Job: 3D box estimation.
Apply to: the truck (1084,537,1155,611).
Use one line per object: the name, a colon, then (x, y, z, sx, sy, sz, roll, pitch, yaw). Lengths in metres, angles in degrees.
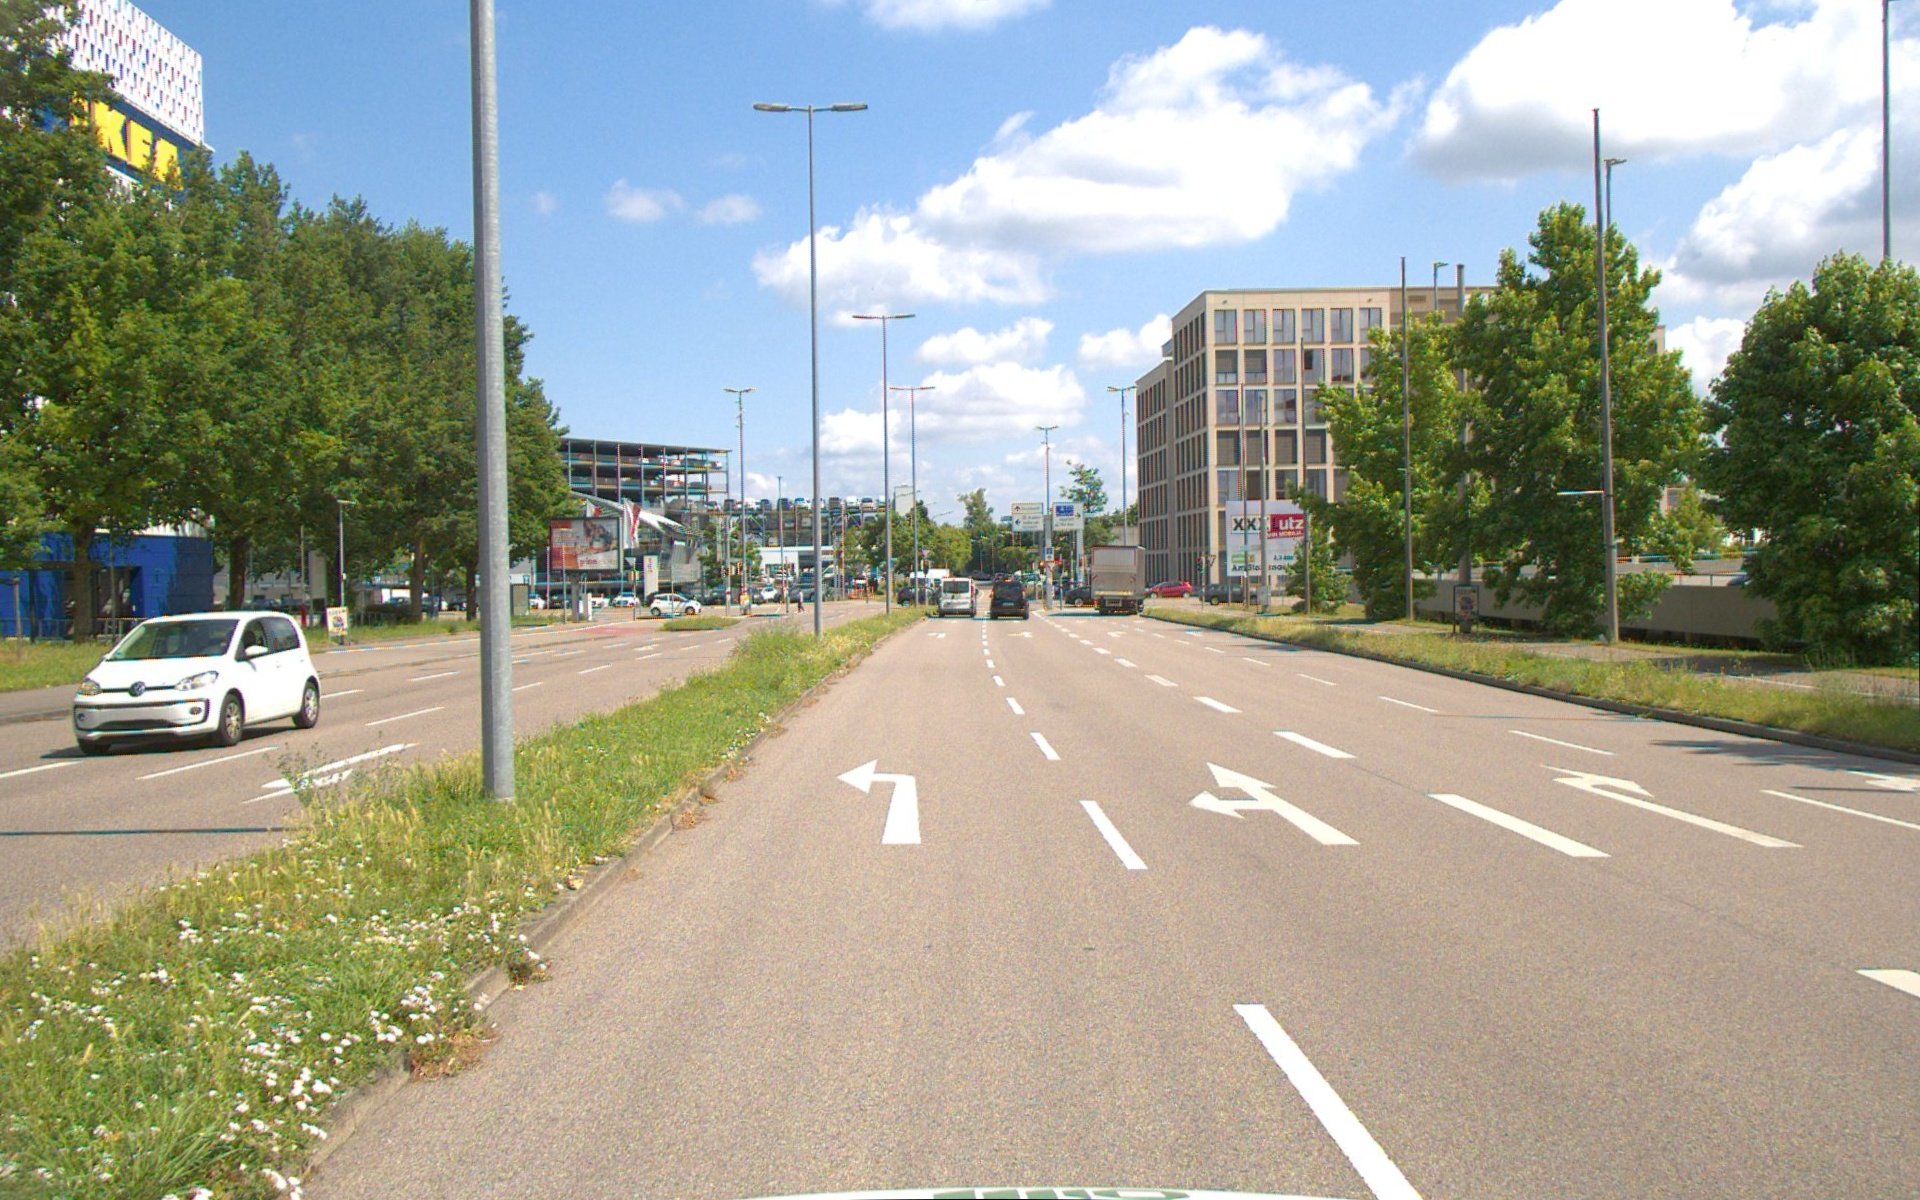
truck: (9.143, -1.480, 94.137, 3.063, 4.009, 8.867, 0, 1, 12)

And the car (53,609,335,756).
car: (-8.773, 0.881, 19.278, 1.610, 1.453, 3.669, -2, 0, -2)

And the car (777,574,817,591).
car: (-17.146, -1.860, 174.234, 4.084, 1.742, 1.687, 1, 1, -5)

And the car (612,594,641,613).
car: (-27.581, 0.246, 136.848, 1.740, 1.475, 4.028, 0, 1, -3)

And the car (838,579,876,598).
car: (-10.898, -1.184, 174.860, 3.910, 1.959, 1.825, 0, 0, -6)

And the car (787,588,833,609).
car: (-12.991, -0.135, 143.395, 3.785, 1.668, 1.857, -2, 1, -3)

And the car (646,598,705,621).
car: (-19.285, 0.656, 112.367, 3.774, 1.492, 1.694, -1, 1, -4)

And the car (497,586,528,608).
car: (-36.422, -0.267, 134.695, 1.722, 1.689, 3.615, -1, 1, -3)

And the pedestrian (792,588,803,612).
pedestrian: (-10.340, 0.020, 105.198, 0.460, 1.538, 0.511, 0, 0, 26)

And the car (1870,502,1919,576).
car: (33.979, -2.044, 55.763, 5.545, 2.407, 2.060, -1, 0, -3)

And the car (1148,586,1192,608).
car: (16.347, -0.235, 128.847, 3.206, 1.429, 1.335, 0, 9, -2)

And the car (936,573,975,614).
car: (-0.200, -0.370, 84.899, 1.817, 2.053, 4.002, 0, 1, 3)

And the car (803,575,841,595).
car: (-12.870, -1.410, 154.273, 3.438, 1.742, 1.603, -2, 1, -3)

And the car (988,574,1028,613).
car: (2.324, -0.344, 80.045, 1.781, 1.840, 4.002, 0, 0, 4)
